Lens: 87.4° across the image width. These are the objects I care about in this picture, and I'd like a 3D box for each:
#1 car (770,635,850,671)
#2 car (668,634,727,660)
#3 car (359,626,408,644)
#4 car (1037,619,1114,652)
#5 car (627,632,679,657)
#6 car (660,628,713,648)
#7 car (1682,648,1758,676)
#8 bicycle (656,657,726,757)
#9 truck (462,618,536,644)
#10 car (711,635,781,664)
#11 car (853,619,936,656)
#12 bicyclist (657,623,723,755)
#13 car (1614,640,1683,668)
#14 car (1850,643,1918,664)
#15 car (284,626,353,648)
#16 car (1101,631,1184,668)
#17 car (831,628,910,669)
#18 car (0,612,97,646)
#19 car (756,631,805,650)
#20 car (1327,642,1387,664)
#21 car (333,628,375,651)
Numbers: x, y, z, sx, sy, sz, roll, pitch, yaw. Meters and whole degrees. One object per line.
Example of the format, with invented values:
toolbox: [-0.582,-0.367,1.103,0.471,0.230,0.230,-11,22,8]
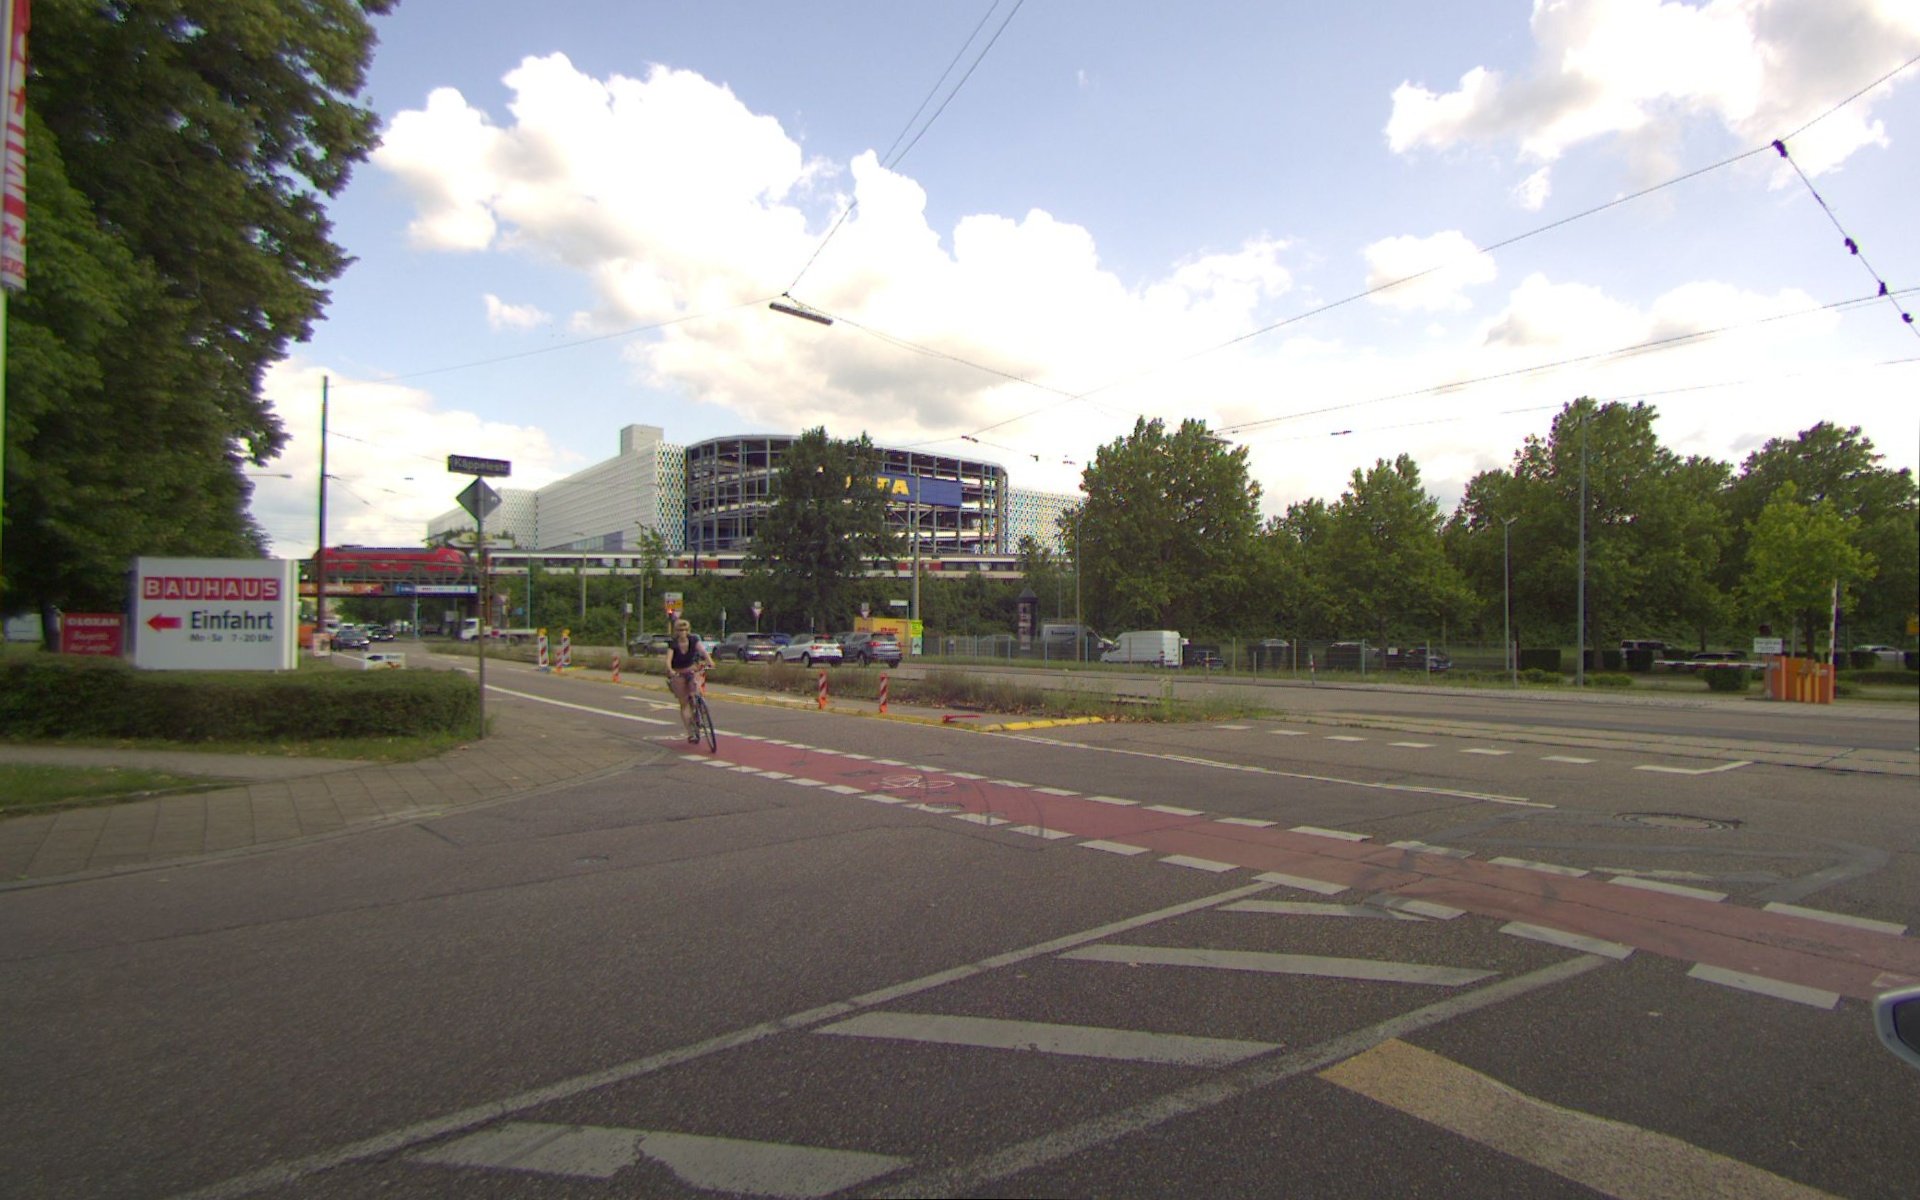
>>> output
car: [-7.074,2.448,47.104,1.907,1.600,4.187,1,-2,-39]
car: [-15.085,2.651,57.635,1.782,1.424,3.985,1,-2,-39]
car: [-59.935,3.613,104.460,3.921,1.808,1.892,0,-2,-1]
car: [9.157,2.799,79.809,5.796,2.474,2.211,1,-1,-4]
car: [-19.030,2.736,62.208,1.782,1.424,3.985,1,-2,-39]
car: [-22.987,3.179,84.399,3.921,1.577,1.875,1,-1,-1]
car: [50.966,4.114,67.448,1.873,1.724,3.997,1,-2,-5]
bicycle: [-3.630,1.385,13.439,0.719,1.181,1.807,-1,-2,-21]
truck: [-41.453,2.781,90.383,5.628,2.318,2.032,1,-1,-6]
car: [-11.151,2.541,52.224,1.907,1.424,4.187,1,-2,-39]
car: [-4.768,2.767,73.840,2.175,2.612,6.368,-1,-3,43]
bicyclist: [-3.598,1.148,13.352,0.723,1.669,1.005,-1,-1,-21]
car: [55.930,4.364,81.587,4.483,2.163,1.860,1,-1,-6]
car: [78.770,4.540,85.628,4.218,1.744,1.919,1,-1,-5]
car: [-49.072,2.816,76.901,4.058,1.631,1.798,0,-1,-2]
car: [11.487,3.071,63.488,1.783,2.240,5.242,2,-3,-40]
car: [-4.324,2.252,47.824,1.948,1.839,4.235,1,-2,-34]
car: [-69.365,2.207,76.055,5.796,2.474,2.366,1,-1,-4]
car: [-15.424,3.458,86.451,3.921,1.577,1.875,1,-1,-1]
car: [32.728,4.361,82.909,4.182,1.706,1.999,1,-1,-6]
car: [-41.187,2.658,68.276,1.855,1.505,3.954,2,-2,-40]
